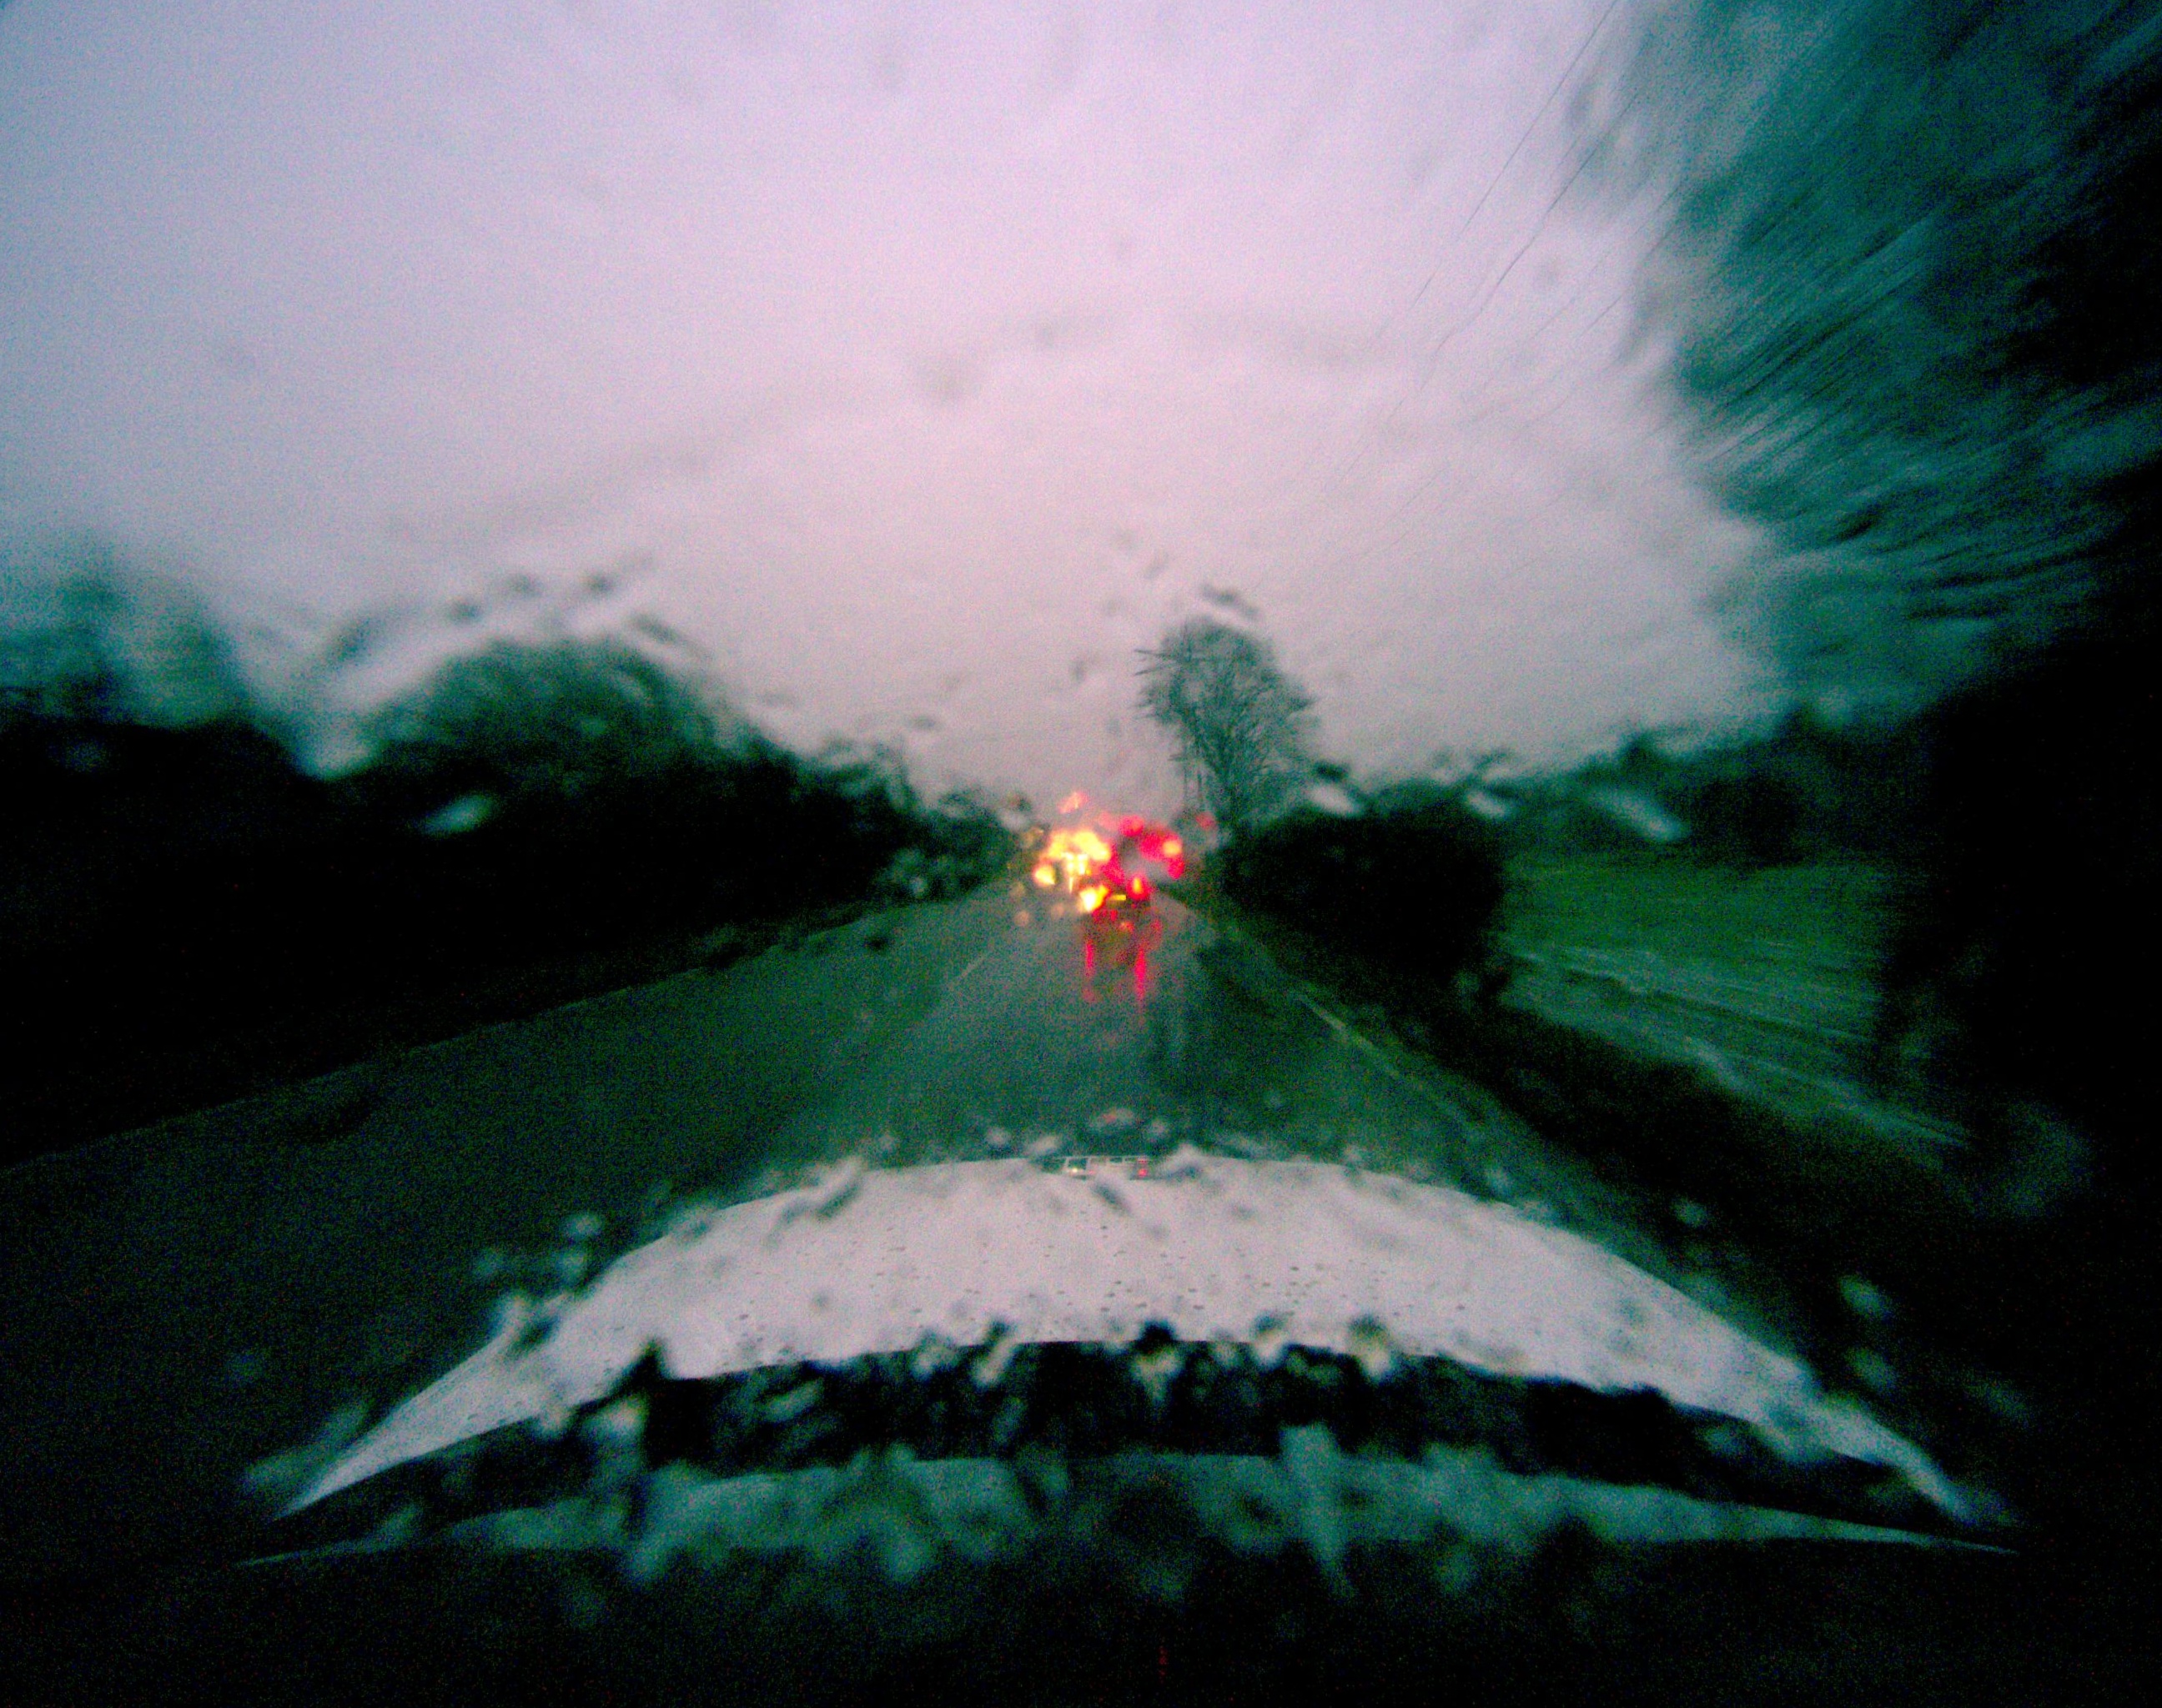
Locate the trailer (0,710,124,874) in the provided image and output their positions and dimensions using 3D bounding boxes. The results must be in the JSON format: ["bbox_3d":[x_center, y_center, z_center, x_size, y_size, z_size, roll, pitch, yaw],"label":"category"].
[{"bbox_3d":[-25.635,-1.379,14.727,2.988,3.633,11.389,-1,0,1],"label":"trailer"}]

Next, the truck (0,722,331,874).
[{"bbox_3d":[-25.446,-1.353,22.868,2.981,3.632,6.068,-2,0,1],"label":"truck"}]

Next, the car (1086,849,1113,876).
[{"bbox_3d":[1.440,0.656,63.604,1.986,2.013,4.002,-2,0,2],"label":"car"}]

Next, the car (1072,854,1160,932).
[{"bbox_3d":[0.869,0.911,20.911,1.986,1.752,4.001,-2,0,1],"label":"car"}]
